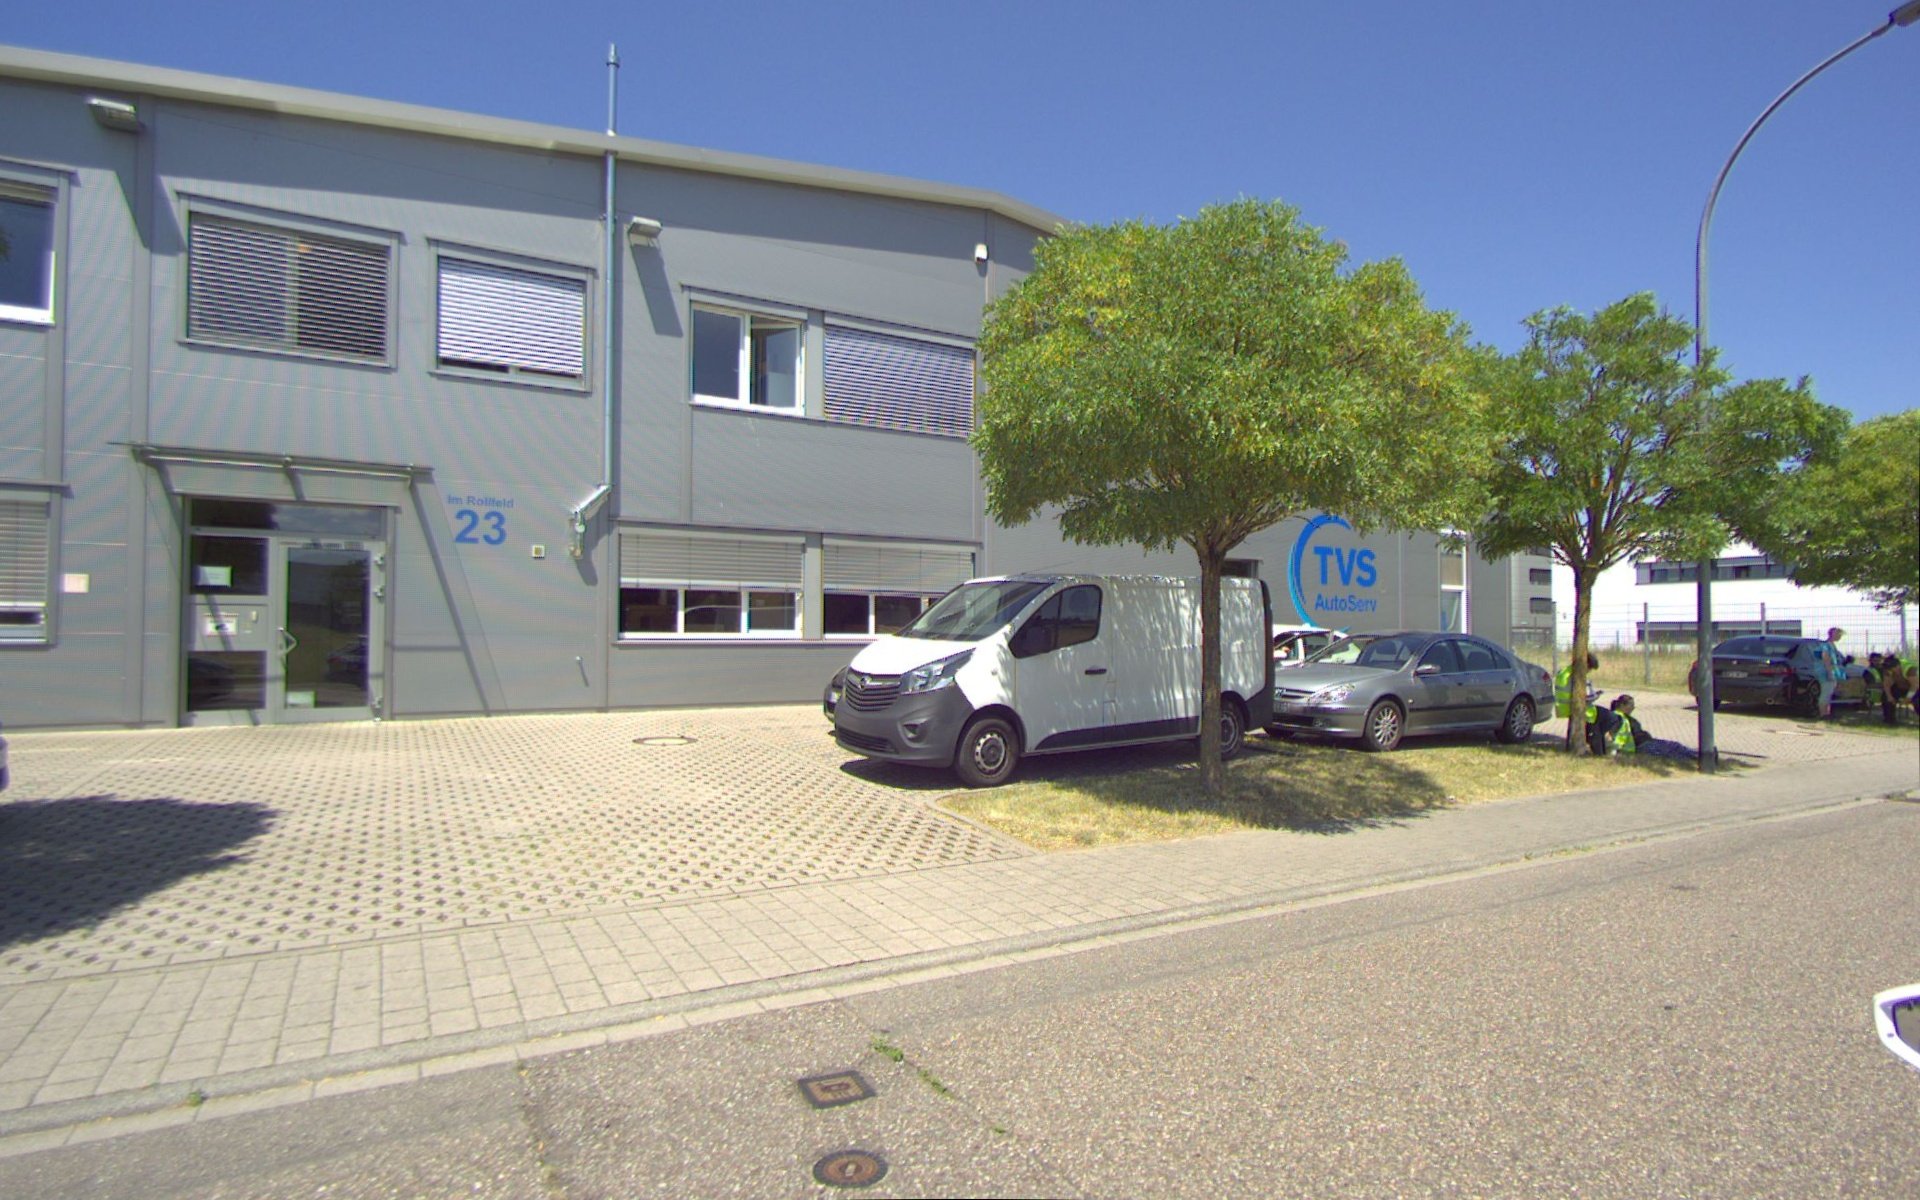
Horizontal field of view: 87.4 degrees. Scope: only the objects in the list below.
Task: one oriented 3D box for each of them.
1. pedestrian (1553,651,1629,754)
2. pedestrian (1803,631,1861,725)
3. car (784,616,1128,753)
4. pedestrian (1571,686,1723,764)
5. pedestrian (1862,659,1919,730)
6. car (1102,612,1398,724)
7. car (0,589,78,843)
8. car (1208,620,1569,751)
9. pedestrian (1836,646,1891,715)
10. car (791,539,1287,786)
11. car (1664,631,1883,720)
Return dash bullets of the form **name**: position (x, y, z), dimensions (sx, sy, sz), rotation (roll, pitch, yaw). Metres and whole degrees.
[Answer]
- **pedestrian**: position (7.521, 1.215, 11.972), dimensions (0.547, 1.165, 0.478), rotation (4, 0, -20)
- **pedestrian**: position (15.483, 1.366, 17.842), dimensions (0.743, 1.616, 0.504), rotation (1, 1, -28)
- **car**: position (-0.005, 0.989, 12.962), dimensions (4.042, 1.460, 1.916), rotation (1, 0, -32)
- **pedestrian**: position (8.458, 1.515, 12.410), dimensions (0.743, 0.759, 1.353), rotation (1, 0, -28)
- **pedestrian**: position (15.843, 1.573, 16.925), dimensions (0.638, 1.113, 0.748), rotation (1, 1, -26)
- **car**: position (4.563, 0.986, 15.671), dimensions (4.412, 1.484, 1.918), rotation (1, 0, -30)
- **car**: position (-7.961, 0.632, 5.313), dimensions (4.659, 1.473, 1.757), rotation (1, 0, -31)
- **car**: position (5.722, 1.089, 13.262), dimensions (4.784, 1.459, 1.918), rotation (3, -3, -30)
- **pedestrian**: position (16.593, 1.465, 18.445), dimensions (0.743, 1.207, 0.504), rotation (1, 1, -28)
- **car**: position (0.972, 0.557, 10.464), dimensions (5.070, 2.046, 1.826), rotation (1, 0, -33)
- **car**: position (15.988, 1.392, 19.688), dimensions (4.639, 1.484, 1.916), rotation (1, 0, -32)
